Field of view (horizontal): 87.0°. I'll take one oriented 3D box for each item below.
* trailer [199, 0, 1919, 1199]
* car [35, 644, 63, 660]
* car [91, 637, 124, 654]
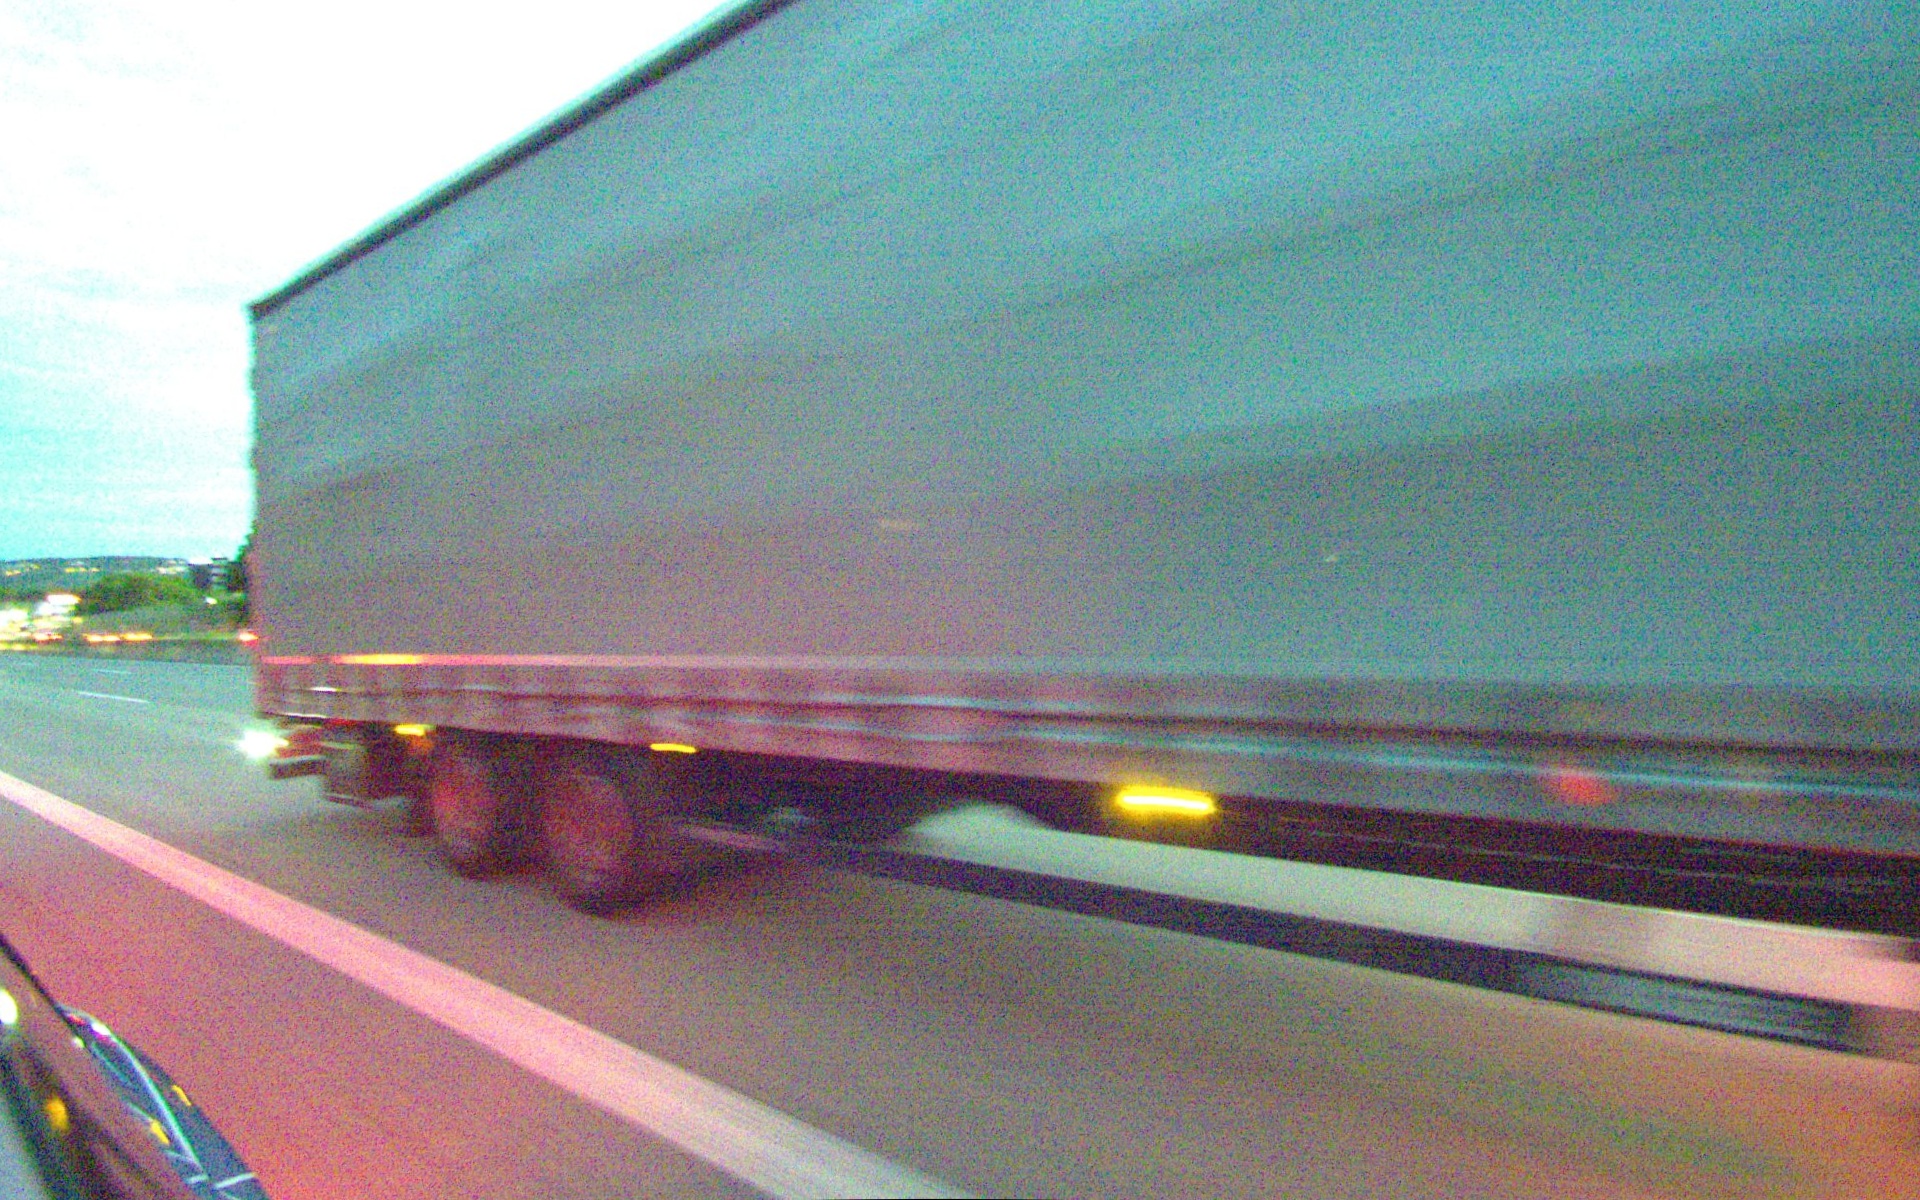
[{"bbox_3d":[0.643,-0.518,4.493,14.798,3.945,2.747,-2,-1,38],"label":"trailer"},{"bbox_3d":[-122.343,6.978,135.927,3.993,2.029,1.976,-2,0,37],"label":"car"},{"bbox_3d":[-88.620,4.701,105.190,4.555,1.622,1.973,-2,-1,41],"label":"car"}]
